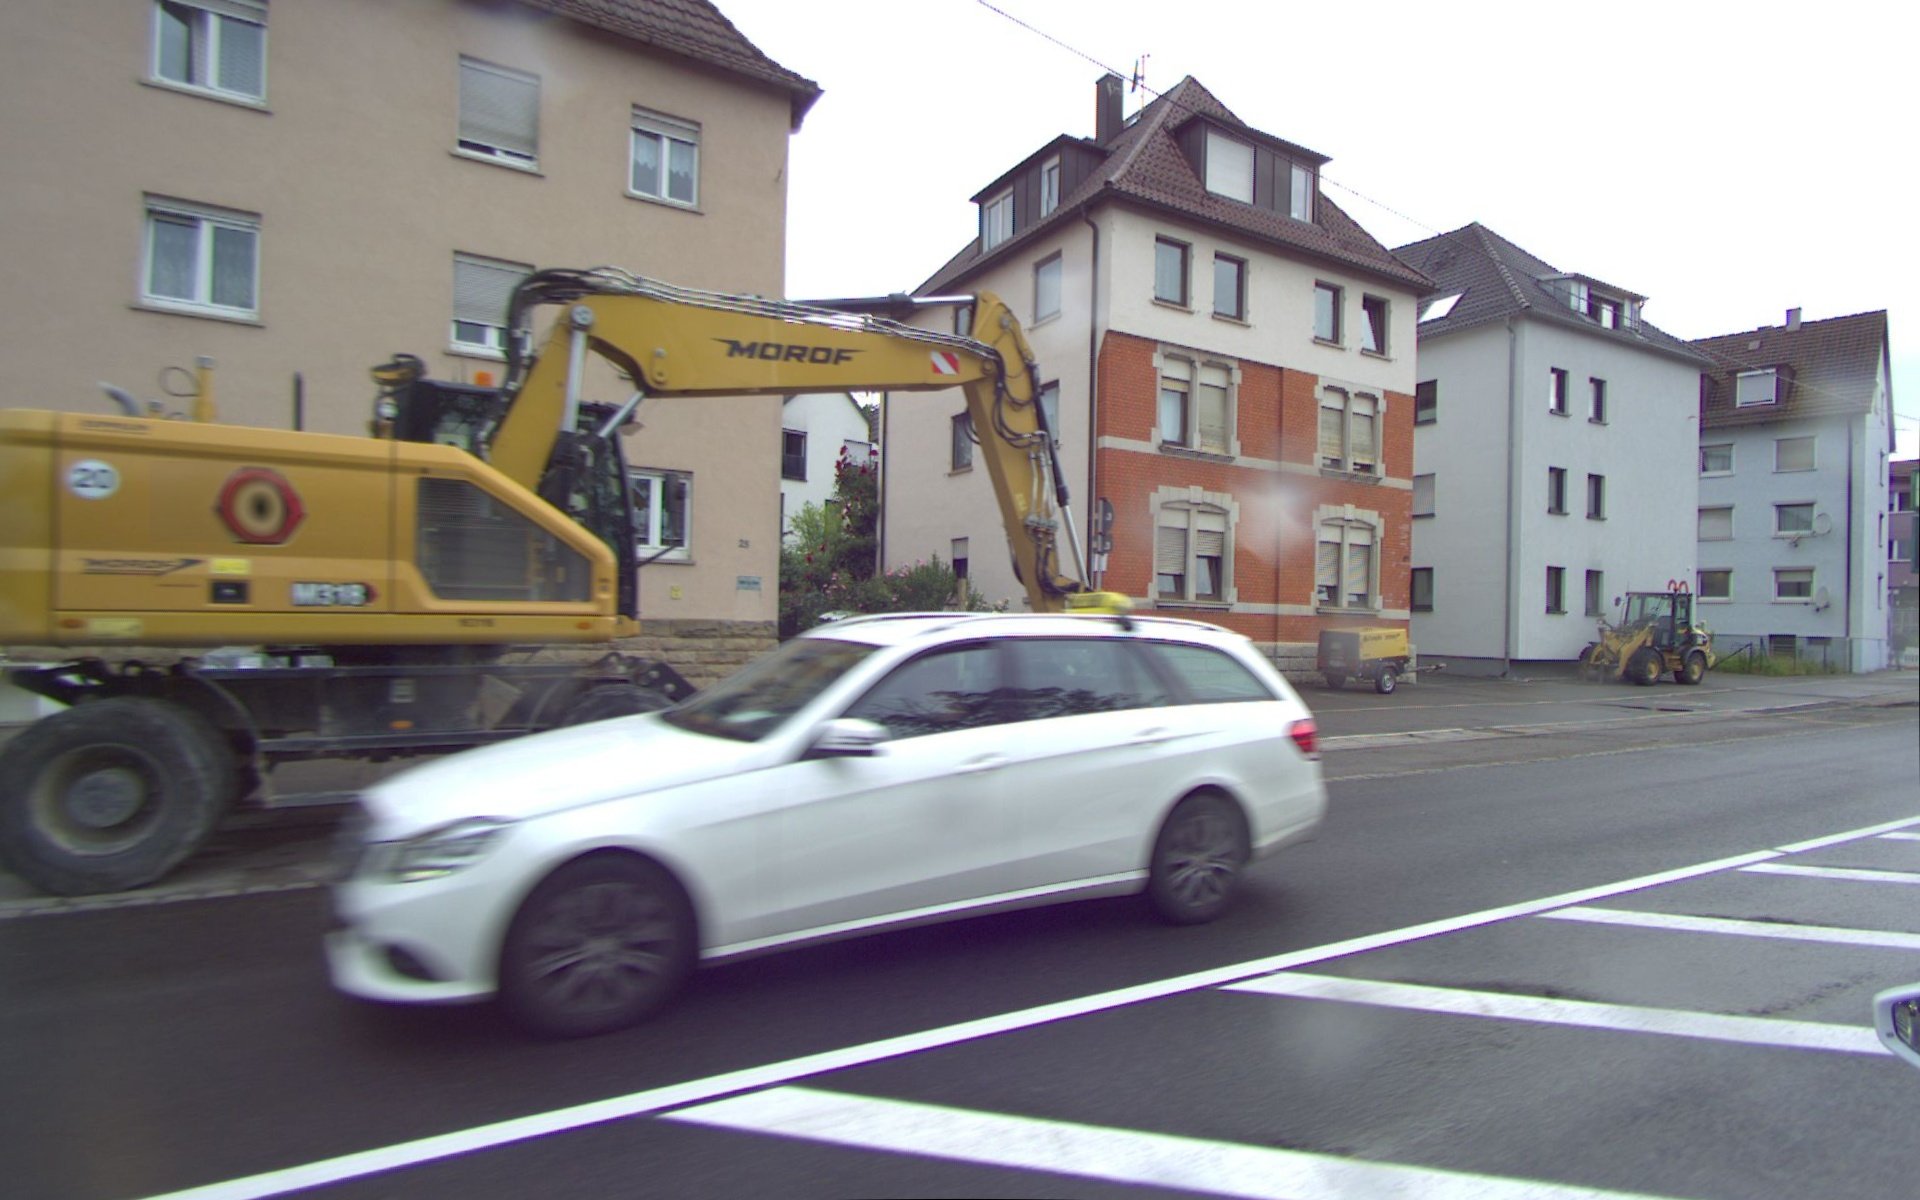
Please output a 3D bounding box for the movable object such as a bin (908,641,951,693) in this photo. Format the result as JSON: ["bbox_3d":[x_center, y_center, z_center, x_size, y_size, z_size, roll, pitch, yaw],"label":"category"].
[{"bbox_3d":[-0.575,1.249,18.883,0.569,0.910,0.630,-1,1,-33],"label":"movable object such as a bin"}]

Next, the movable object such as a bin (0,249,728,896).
[{"bbox_3d":[-4.011,-0.161,7.046,4.073,3.216,2.859,0,1,-28],"label":"movable object such as a bin"}]

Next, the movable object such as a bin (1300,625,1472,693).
[{"bbox_3d":[9.620,1.336,22.595,3.957,1.372,1.545,3,-1,-32],"label":"movable object such as a bin"}]

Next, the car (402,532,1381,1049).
[{"bbox_3d":[-0.155,0.659,5.099,4.569,1.576,1.918,3,0,-32],"label":"car"}]

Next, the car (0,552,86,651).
[{"bbox_3d":[-15.862,-0.010,16.101,1.828,1.461,3.972,0,1,-27],"label":"car"}]

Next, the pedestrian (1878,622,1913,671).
[{"bbox_3d":[40.592,1.999,43.586,1.045,2.041,1.068,-1,2,-45],"label":"pedestrian"}]

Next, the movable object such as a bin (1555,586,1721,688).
[{"bbox_3d":[19.433,0.968,28.765,4.569,2.719,1.986,0,1,-28],"label":"movable object such as a bin"}]

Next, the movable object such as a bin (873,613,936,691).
[{"bbox_3d":[-1.085,0.983,19.527,0.947,1.431,0.848,-1,2,-34],"label":"movable object such as a bin"}]

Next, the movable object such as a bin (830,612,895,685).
[{"bbox_3d":[-2.032,0.975,20.852,0.947,1.431,1.078,-1,1,-33],"label":"movable object such as a bin"}]
